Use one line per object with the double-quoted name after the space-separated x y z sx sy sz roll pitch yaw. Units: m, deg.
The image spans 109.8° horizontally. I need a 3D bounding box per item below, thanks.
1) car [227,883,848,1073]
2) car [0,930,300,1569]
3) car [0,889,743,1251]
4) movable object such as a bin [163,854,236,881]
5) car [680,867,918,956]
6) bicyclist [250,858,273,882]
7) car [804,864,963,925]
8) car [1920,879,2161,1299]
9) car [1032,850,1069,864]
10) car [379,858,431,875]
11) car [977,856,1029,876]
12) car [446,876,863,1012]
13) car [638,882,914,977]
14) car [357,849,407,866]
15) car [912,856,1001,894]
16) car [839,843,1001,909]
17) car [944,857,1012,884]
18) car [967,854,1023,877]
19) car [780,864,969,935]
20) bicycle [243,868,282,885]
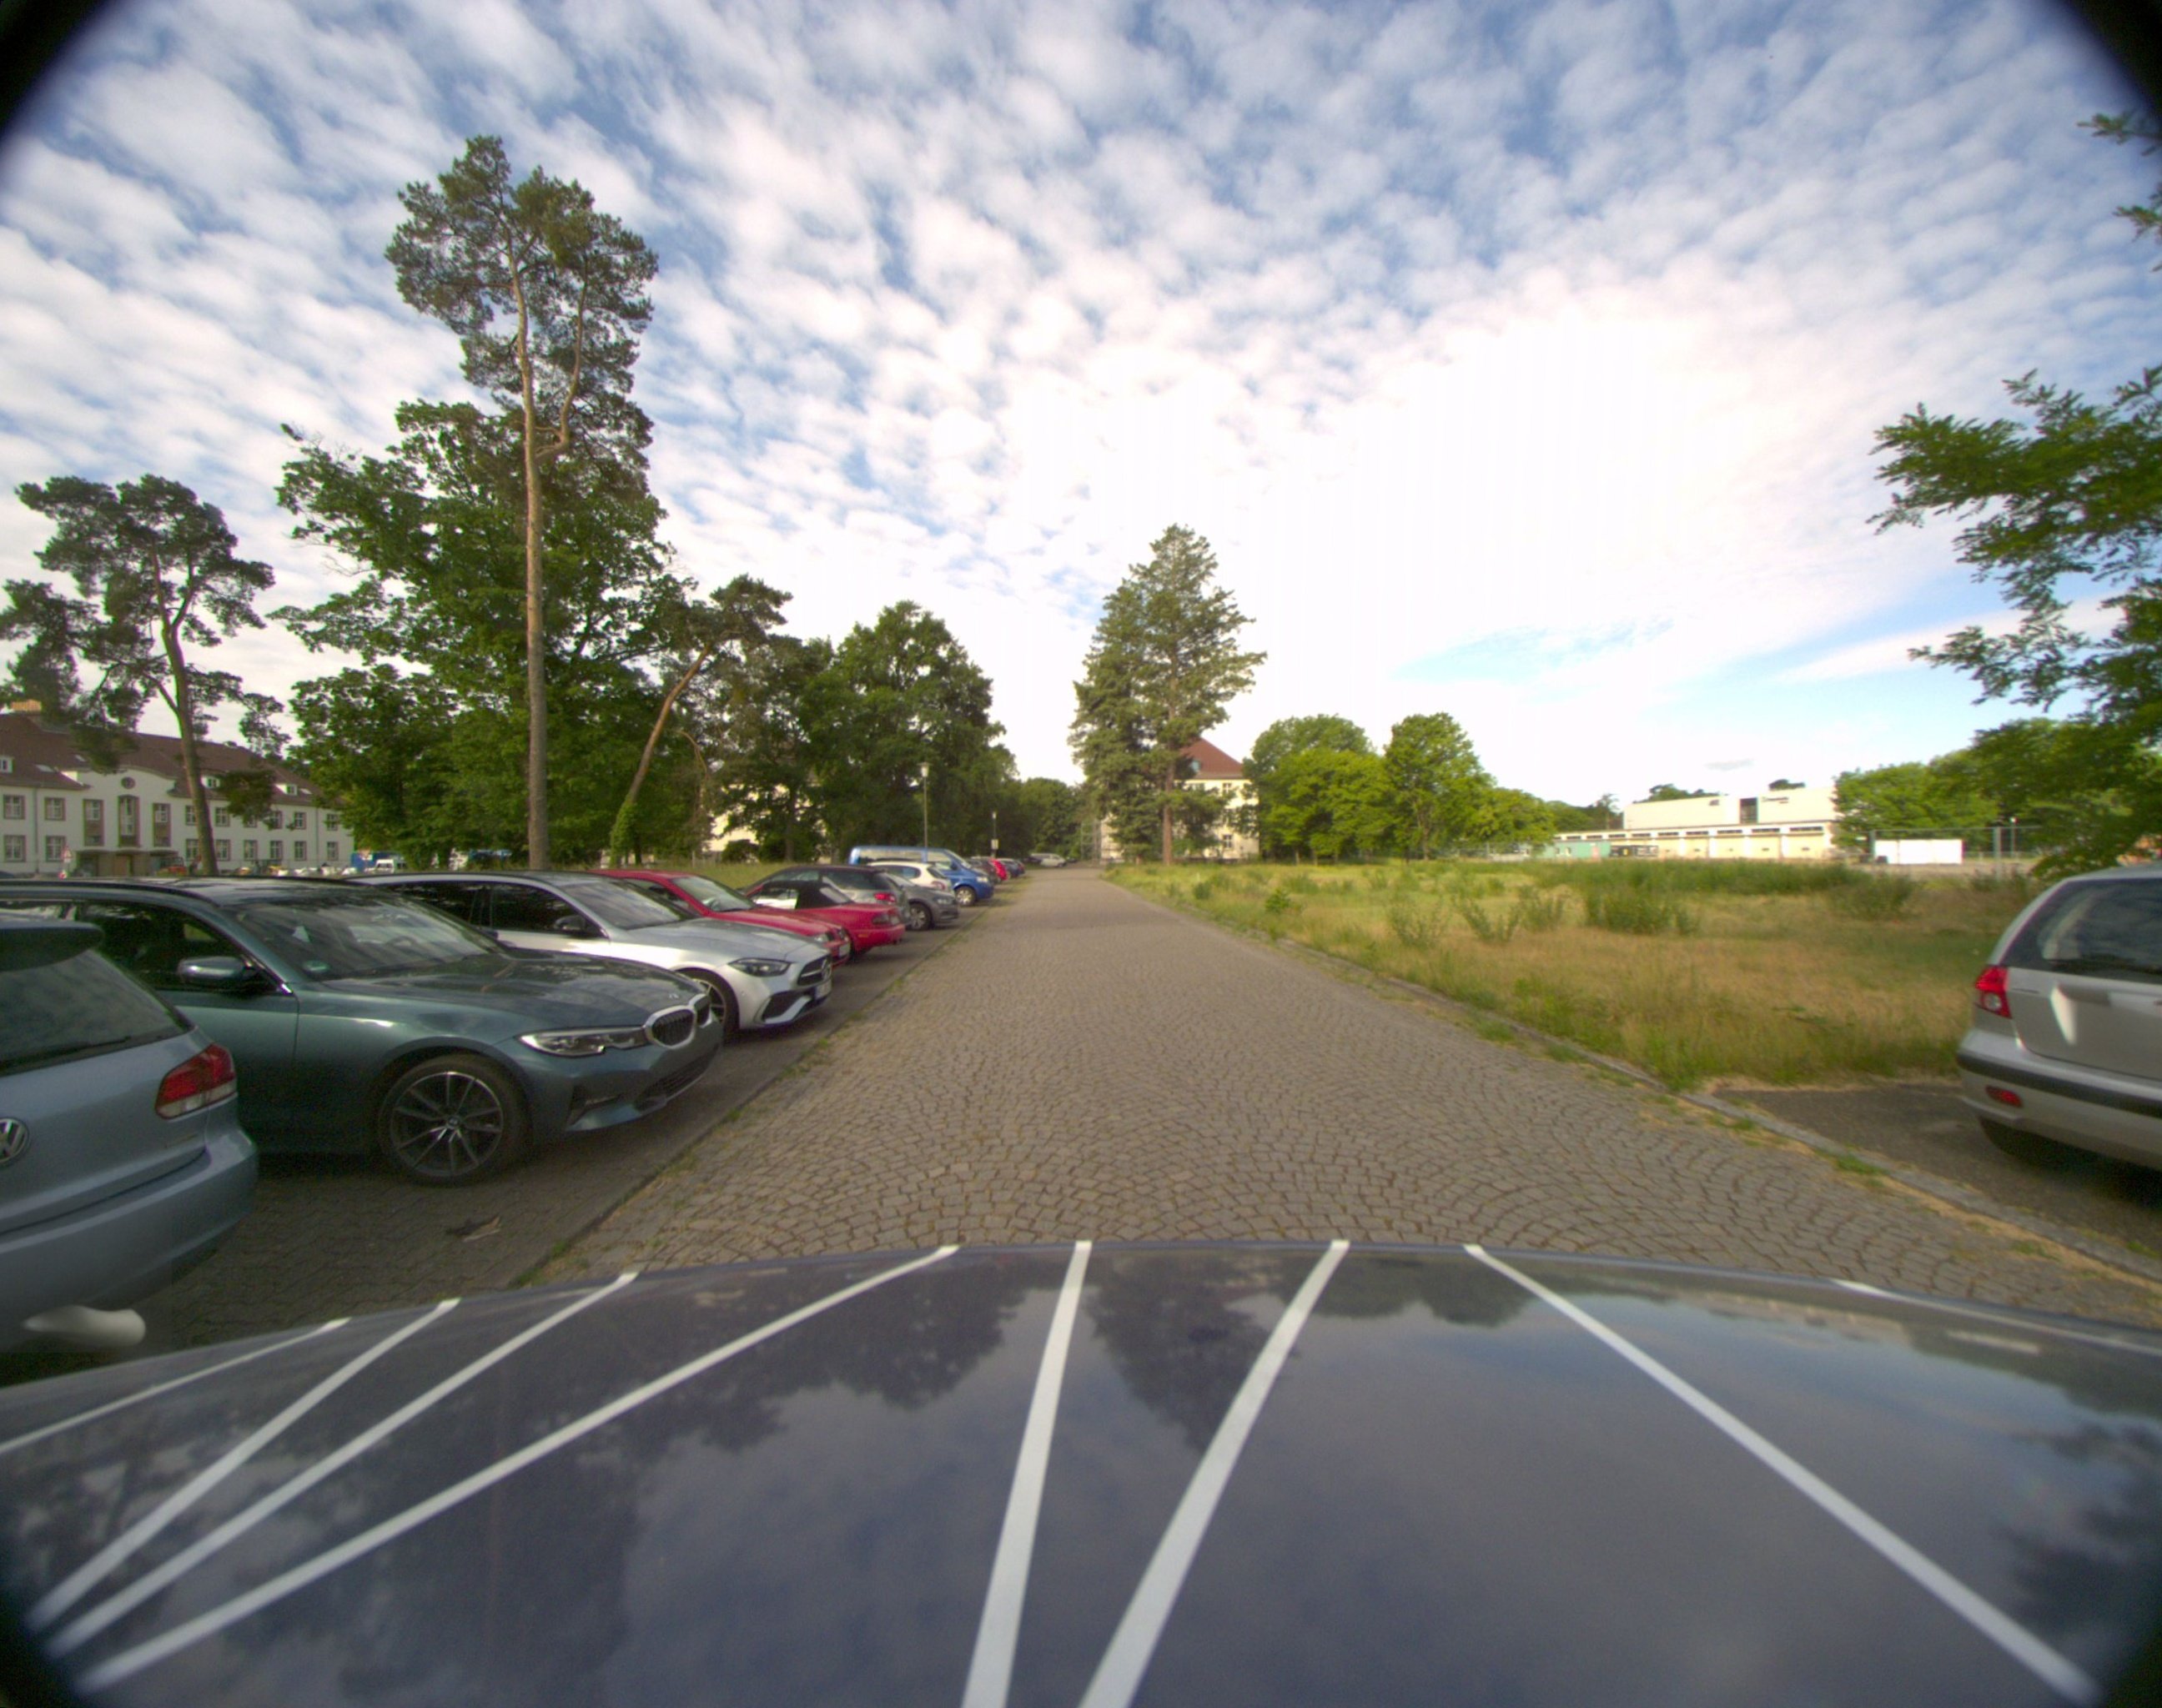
-4.562 1.010 6.952 4.338 1.420 1.766 0 0 -3 "car"
-4.523 1.011 1.605 3.853 1.462 1.641 -1 0 -4 "car"
-4.571 1.005 4.248 4.526 1.474 1.807 -1 0 -5 "car"
-92.962 1.401 80.278 2.000 2.752 5.200 -1 0 -7 "movable object such as a bin"
-5.137 1.017 14.211 3.838 1.494 1.604 -1 0 -2 "car"
-60.107 1.184 55.742 0.668 1.724 0.844 -3 1 1 "bicyclist"
-5.126 1.026 20.017 3.762 1.490 1.581 -1 0 0 "car"
5.785 0.830 2.866 3.587 1.467 1.646 -3 1 -4 "car"
-4.343 0.393 108.408 5.131 2.002 1.804 -1 1 -4 "car"
-70.696 1.253 79.532 1.847 1.674 3.937 1 0 1 "car"
-6.071 0.923 59.573 3.837 1.520 1.674 -1 0 3 "car"
-4.992 1.024 9.344 4.118 1.415 1.719 -1 0 -1 "car"
-4.514 1.102 11.626 3.555 1.279 1.608 -1 -1 -1 "car"
-84.665 0.382 92.037 2.218 2.002 4.001 -1 0 3 "car"
-5.529 0.922 34.077 3.839 1.592 1.580 -1 0 -5 "car"
-5.276 0.698 25.437 4.954 2.011 2.060 1 0 -1 "car"
-5.989 0.947 44.424 3.839 1.516 1.580 -1 0 -5 "car"
-6.182 0.796 54.870 3.837 1.609 1.581 -1 0 3 "car"
-4.558 0.987 17.134 3.781 1.457 1.642 -1 0 0 "car"
-60.108 1.652 55.813 0.638 1.201 1.981 -1 0 1 "bicycle"
